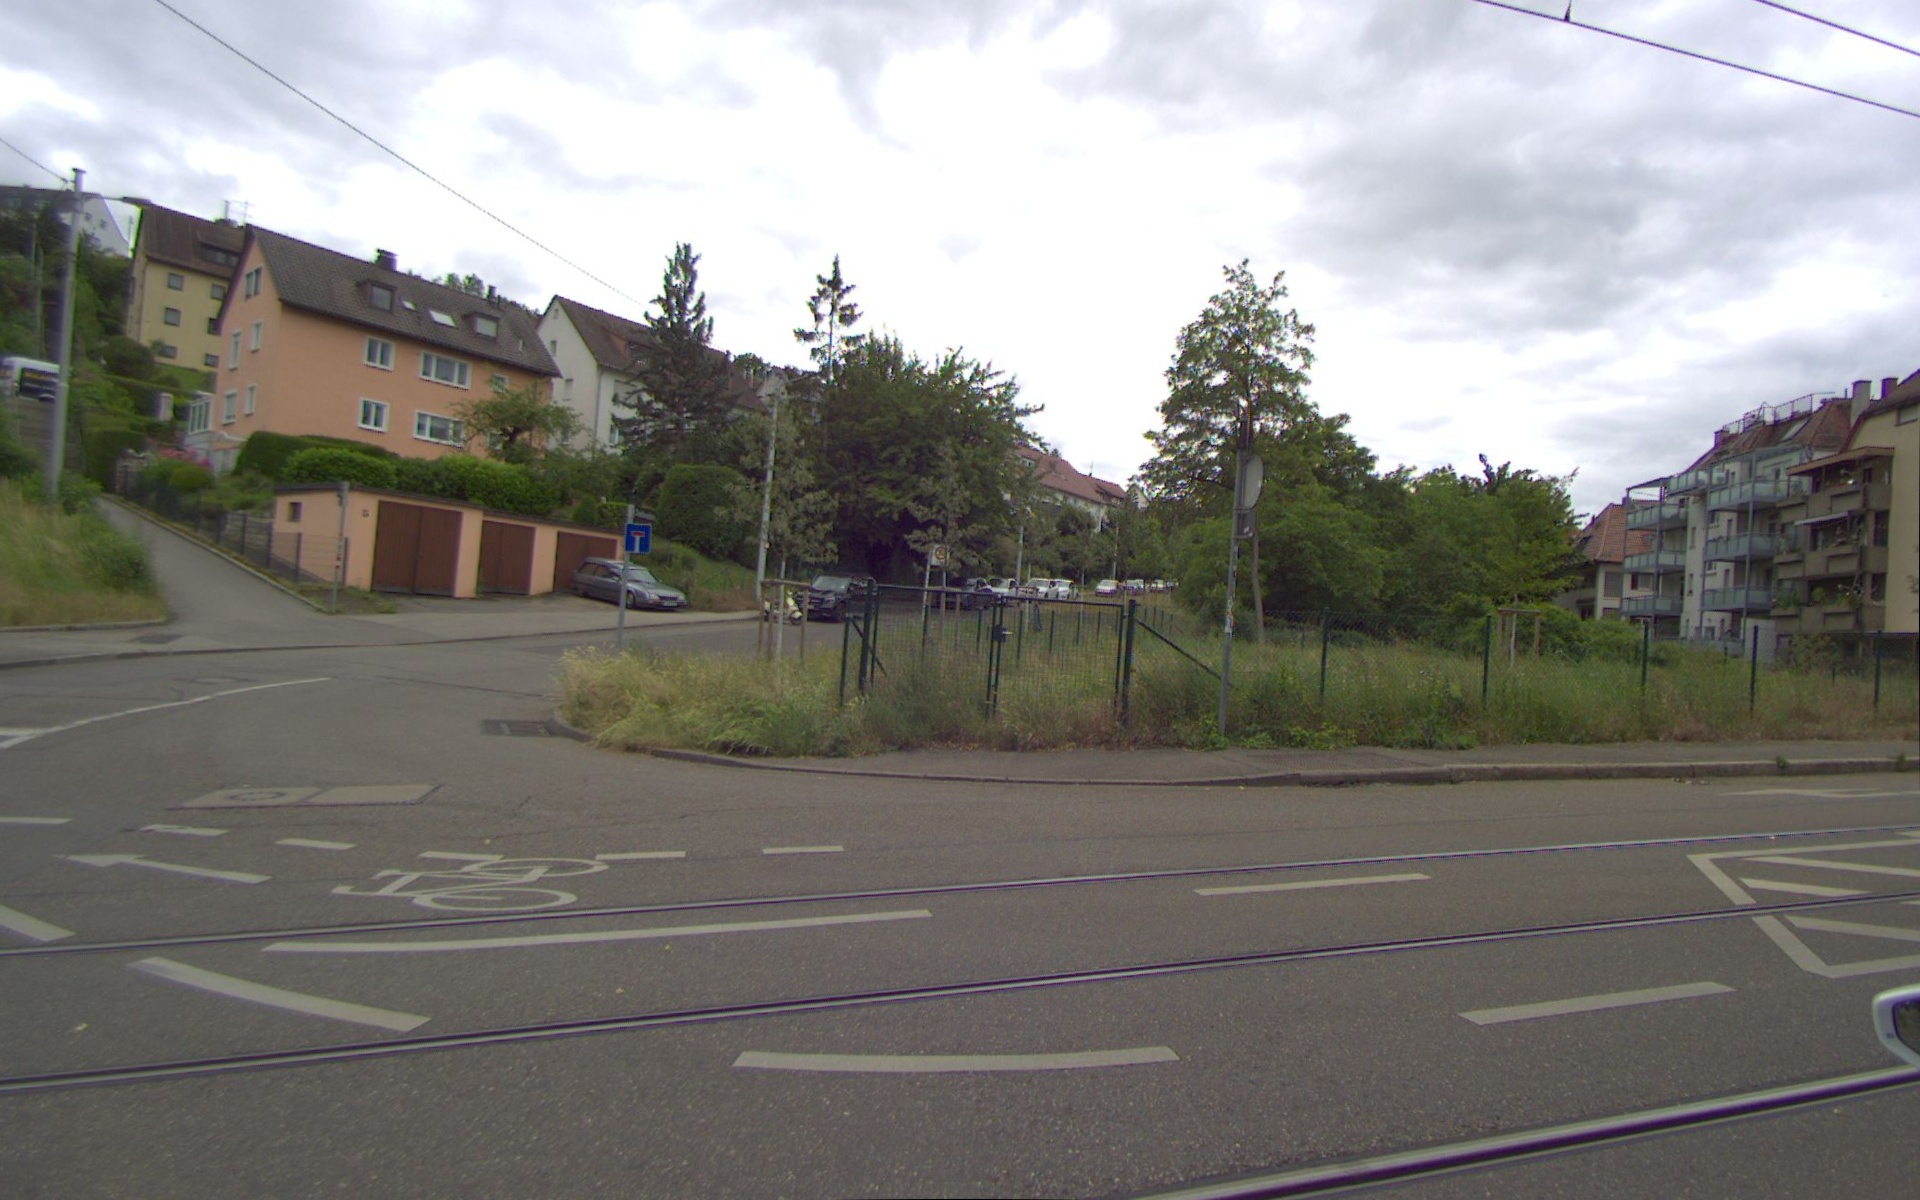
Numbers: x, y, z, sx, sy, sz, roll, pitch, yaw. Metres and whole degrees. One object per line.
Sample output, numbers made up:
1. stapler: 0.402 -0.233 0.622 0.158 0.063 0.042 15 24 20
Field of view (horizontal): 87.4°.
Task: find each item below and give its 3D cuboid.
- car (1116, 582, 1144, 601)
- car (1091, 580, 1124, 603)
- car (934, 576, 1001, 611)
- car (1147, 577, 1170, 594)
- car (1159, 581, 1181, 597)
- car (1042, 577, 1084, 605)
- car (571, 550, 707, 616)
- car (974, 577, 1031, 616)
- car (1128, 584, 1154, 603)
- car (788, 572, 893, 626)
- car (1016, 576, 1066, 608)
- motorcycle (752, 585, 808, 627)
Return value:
1. car: 16.257 -0.802 95.870 1.801 1.680 4.132 2 -1 21
2. car: 12.518 -0.709 84.879 1.802 1.680 4.131 2 -1 22
3. car: 0.421 -0.301 49.783 1.944 1.531 4.131 2 -1 22
4. car: 22.216 -1.597 112.470 1.801 1.680 4.132 2 -1 21
5. car: 24.900 -1.247 118.975 1.801 1.680 4.132 2 -1 21
6. car: 7.089 -0.591 68.769 1.802 1.680 4.131 2 -1 22
7. car: -10.788 -0.593 33.562 4.807 1.633 1.991 9 3 40
8. car: 2.436 -0.168 56.224 1.943 2.040 4.132 2 -1 21
9. car: 18.274 -0.657 101.422 1.801 1.680 4.132 2 -1 21
10. car: -4.209 -0.109 36.159 1.938 1.713 4.449 3 3 20
11. car: 5.199 -0.461 63.624 1.865 1.812 4.483 2 -1 22
12. motorcycle: -5.942 0.200 33.194 1.671 1.172 0.522 7 1 18
